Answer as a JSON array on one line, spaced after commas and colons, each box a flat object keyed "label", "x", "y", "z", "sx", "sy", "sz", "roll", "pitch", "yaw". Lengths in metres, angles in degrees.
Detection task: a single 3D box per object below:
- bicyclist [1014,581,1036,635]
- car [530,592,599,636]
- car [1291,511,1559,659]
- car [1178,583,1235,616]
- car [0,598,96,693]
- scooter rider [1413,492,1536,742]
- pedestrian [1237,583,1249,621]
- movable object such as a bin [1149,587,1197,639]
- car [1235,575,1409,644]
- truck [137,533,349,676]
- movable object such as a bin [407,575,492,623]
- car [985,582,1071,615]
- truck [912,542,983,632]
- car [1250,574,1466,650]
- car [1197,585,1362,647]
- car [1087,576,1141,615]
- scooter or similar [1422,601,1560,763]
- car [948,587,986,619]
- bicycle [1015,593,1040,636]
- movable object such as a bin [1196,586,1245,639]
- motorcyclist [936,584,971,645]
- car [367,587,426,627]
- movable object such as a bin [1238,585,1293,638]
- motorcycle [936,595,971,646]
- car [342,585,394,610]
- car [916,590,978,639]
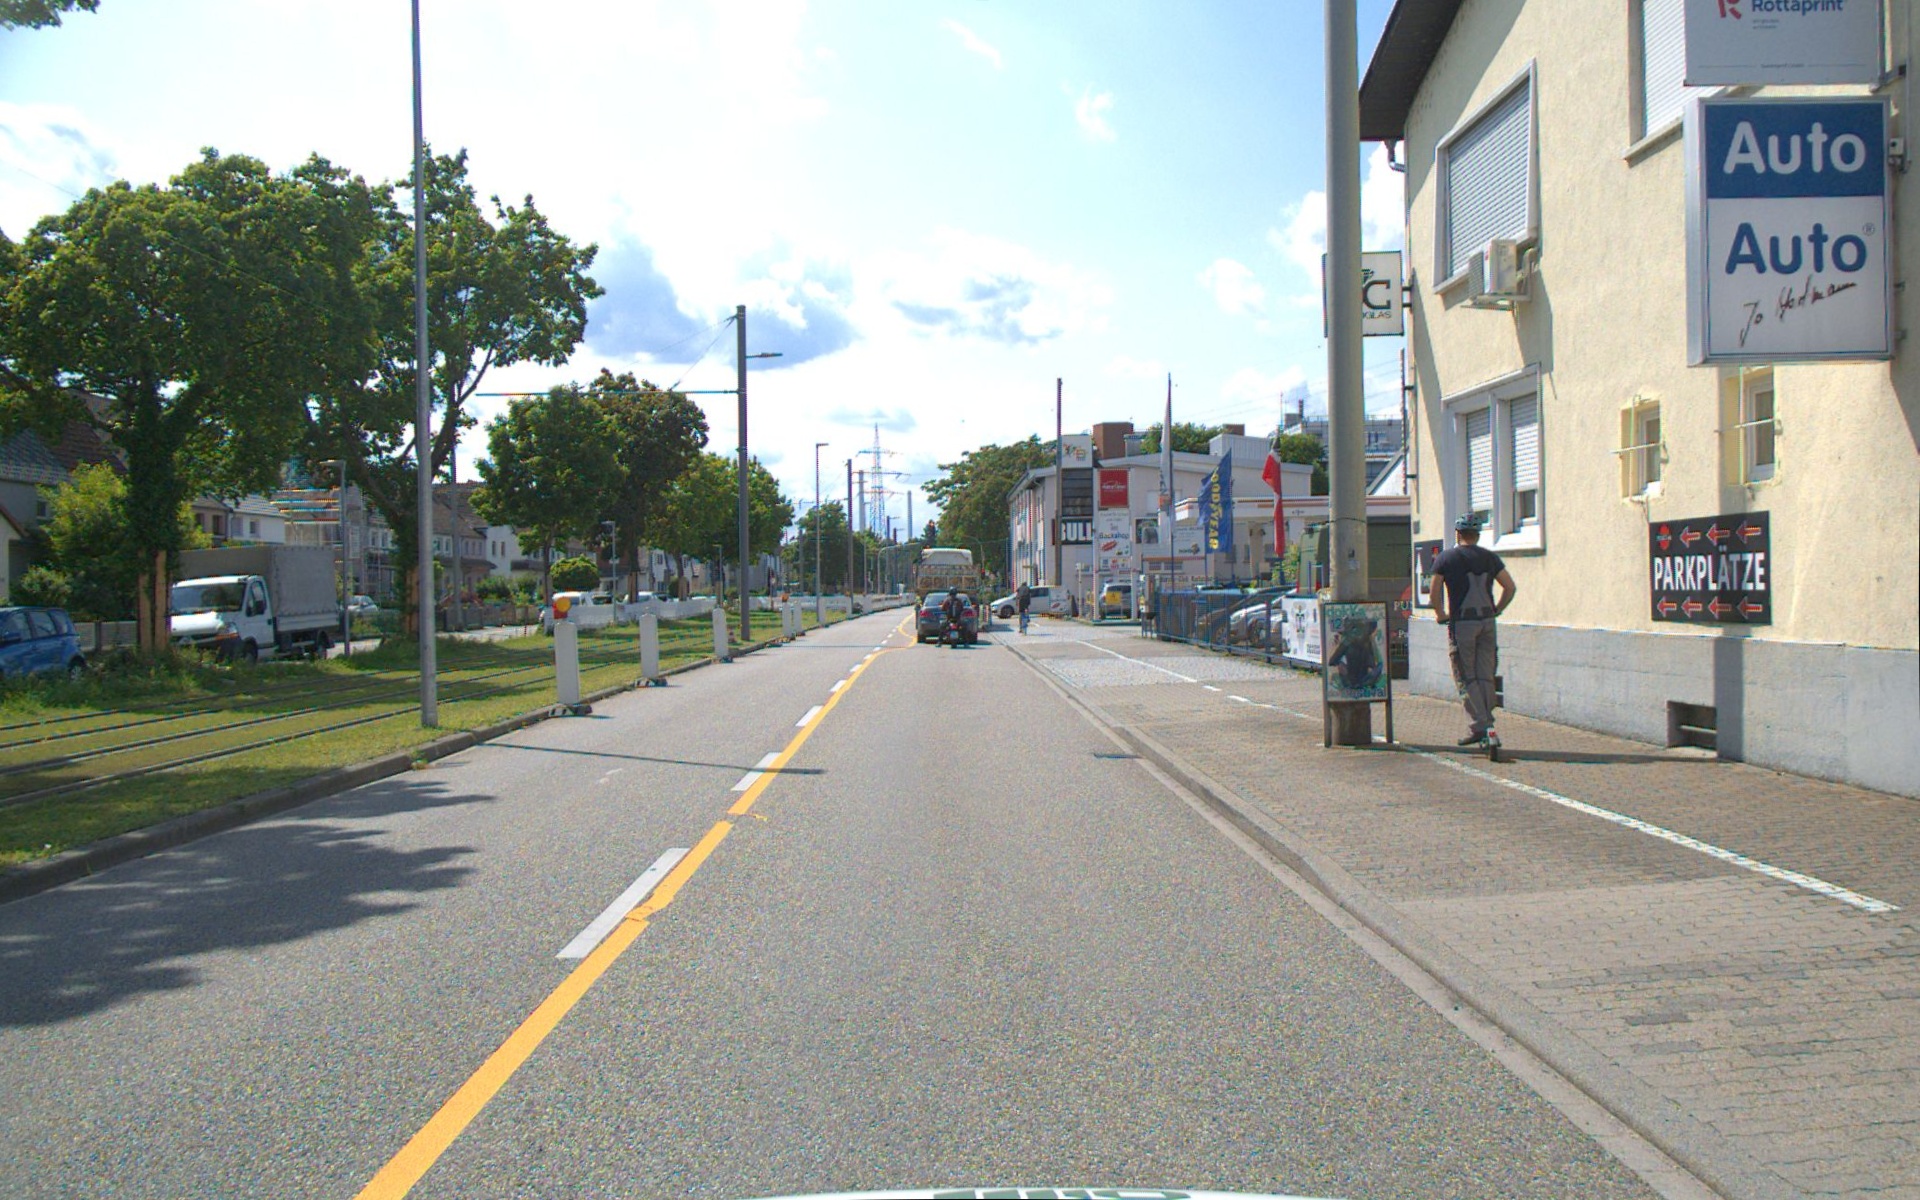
[{"label": "bicyclist", "x": 2.165, "y": 0.271, "z": 55.269, "sx": 0.657, "sy": 1.774, "sz": 0.813, "roll": -1, "pitch": 0, "yaw": -1}, {"label": "car", "x": -16.698, "y": 0.587, "z": 70.075, "sx": 1.953, "sy": 1.780, "sz": 3.999, "roll": -2, "pitch": 0, "yaw": -1}, {"label": "car", "x": 8.708, "y": -0.277, "z": 31.283, "sx": 4.443, "sy": 2.618, "sz": 2.151, "roll": -1, "pitch": 0, "yaw": 1}, {"label": "car", "x": 11.594, "y": -0.025, "z": 78.042, "sx": 1.920, "sy": 1.445, "sz": 3.998, "roll": -2, "pitch": 0, "yaw": -3}, {"label": "car", "x": -15.866, "y": 0.737, "z": 26.589, "sx": 1.954, "sy": 1.478, "sz": 3.998, "roll": -2, "pitch": 0, "yaw": -3}, {"label": "scooter rider", "x": 4.292, "y": 0.128, "z": 13.847, "sx": 0.702, "sy": 1.997, "sz": 0.785, "roll": -3, "pitch": 2, "yaw": 0}, {"label": "pedestrian", "x": 13.006, "y": 0.098, "z": 76.007, "sx": 0.388, "sy": 1.718, "sz": 0.485, "roll": -2, "pitch": -1, "yaw": 0}, {"label": "movable object such as a bin", "x": 6.168, "y": 0.380, "z": 47.880, "sx": 1.230, "sy": 1.469, "sz": 0.824, "roll": -2, "pitch": 0, "yaw": 0}, {"label": "car", "x": 8.525, "y": 0.227, "z": 38.934, "sx": 3.902, "sy": 1.522, "sz": 1.752, "roll": -1, "pitch": 0, "yaw": 15}, {"label": "truck", "x": -16.028, "y": 0.054, "z": 37.441, "sx": 1.953, "sy": 2.815, "sz": 6.275, "roll": -4, "pitch": 1, "yaw": -1}, {"label": "movable object such as a bin", "x": -27.959, "y": -0.070, "z": 90.620, "sx": 4.277, "sy": 2.492, "sz": 1.776, "roll": -1, "pitch": 0, "yaw": -23}, {"label": "car", "x": 3.600, "y": -0.085, "z": 87.861, "sx": 4.250, "sy": 1.579, "sz": 1.946, "roll": -2, "pitch": 0, "yaw": -9}, {"label": "truck", "x": -0.480, "y": -0.608, "z": 66.543, "sx": 2.557, "sy": 3.312, "sz": 9.182, "roll": -2, "pitch": 1, "yaw": 0}, {"label": "car", "x": 8.129, "y": 0.246, "z": 34.097, "sx": 4.095, "sy": 1.456, "sz": 1.821, "roll": -1, "pitch": 0, "yaw": 6}, {"label": "car", "x": 8.068, "y": 0.402, "z": 41.711, "sx": 3.903, "sy": 1.468, "sz": 1.711, "roll": -1, "pitch": 0, "yaw": 17}, {"label": "car", "x": 7.177, "y": -0.195, "z": 77.260, "sx": 1.920, "sy": 1.677, "sz": 3.998, "roll": -2, "pitch": 0, "yaw": -3}, {"label": "scooter or similar", "x": 4.293, "y": 0.630, "z": 13.479, "sx": 0.529, "sy": 1.216, "sz": 1.610, "roll": -3, "pitch": 0, "yaw": -1}, {"label": "car", "x": 0.328, "y": 0.132, "z": 79.557, "sx": 1.784, "sy": 1.489, "sz": 4.000, "roll": 0, "pitch": 0, "yaw": 0}, {"label": "bicycle", "x": 2.240, "y": 0.467, "z": 55.281, "sx": 0.678, "sy": 1.385, "sz": 2.418, "roll": -1, "pitch": 0, "yaw": -1}, {"label": "movable object such as a bin", "x": 7.518, "y": 0.353, "z": 47.790, "sx": 1.230, "sy": 1.469, "sz": 0.824, "roll": -2, "pitch": 0, "yaw": 0}, {"label": "motorcyclist", "x": -0.171, "y": 0.393, "z": 45.699, "sx": 0.920, "sy": 1.643, "sz": 1.204, "roll": 1, "pitch": 0, "yaw": -1}, {"label": "car", "x": -25.674, "y": 0.325, "z": 75.467, "sx": 1.650, "sy": 1.752, "sz": 3.029, "roll": -2, "pitch": 0, "yaw": -1}, {"label": "movable object such as a bin", "x": 8.818, "y": 0.326, "z": 47.837, "sx": 1.295, "sy": 1.469, "sz": 0.953, "roll": -2, "pitch": 0, "yaw": -8}, {"label": "motorcycle", "x": -0.179, "y": 0.548, "z": 45.879, "sx": 0.920, "sy": 1.343, "sz": 2.644, "roll": 1, "pitch": 0, "yaw": -1}, {"label": "car", "x": -28.041, "y": -0.105, "z": 78.407, "sx": 1.654, "sy": 1.071, "sz": 3.970, "roll": -2, "pitch": 0, "yaw": -10}, {"label": "car", "x": -0.400, "y": 0.409, "z": 50.350, "sx": 1.784, "sy": 1.449, "sz": 3.999, "roll": 0, "pitch": 0, "yaw": -1}]
